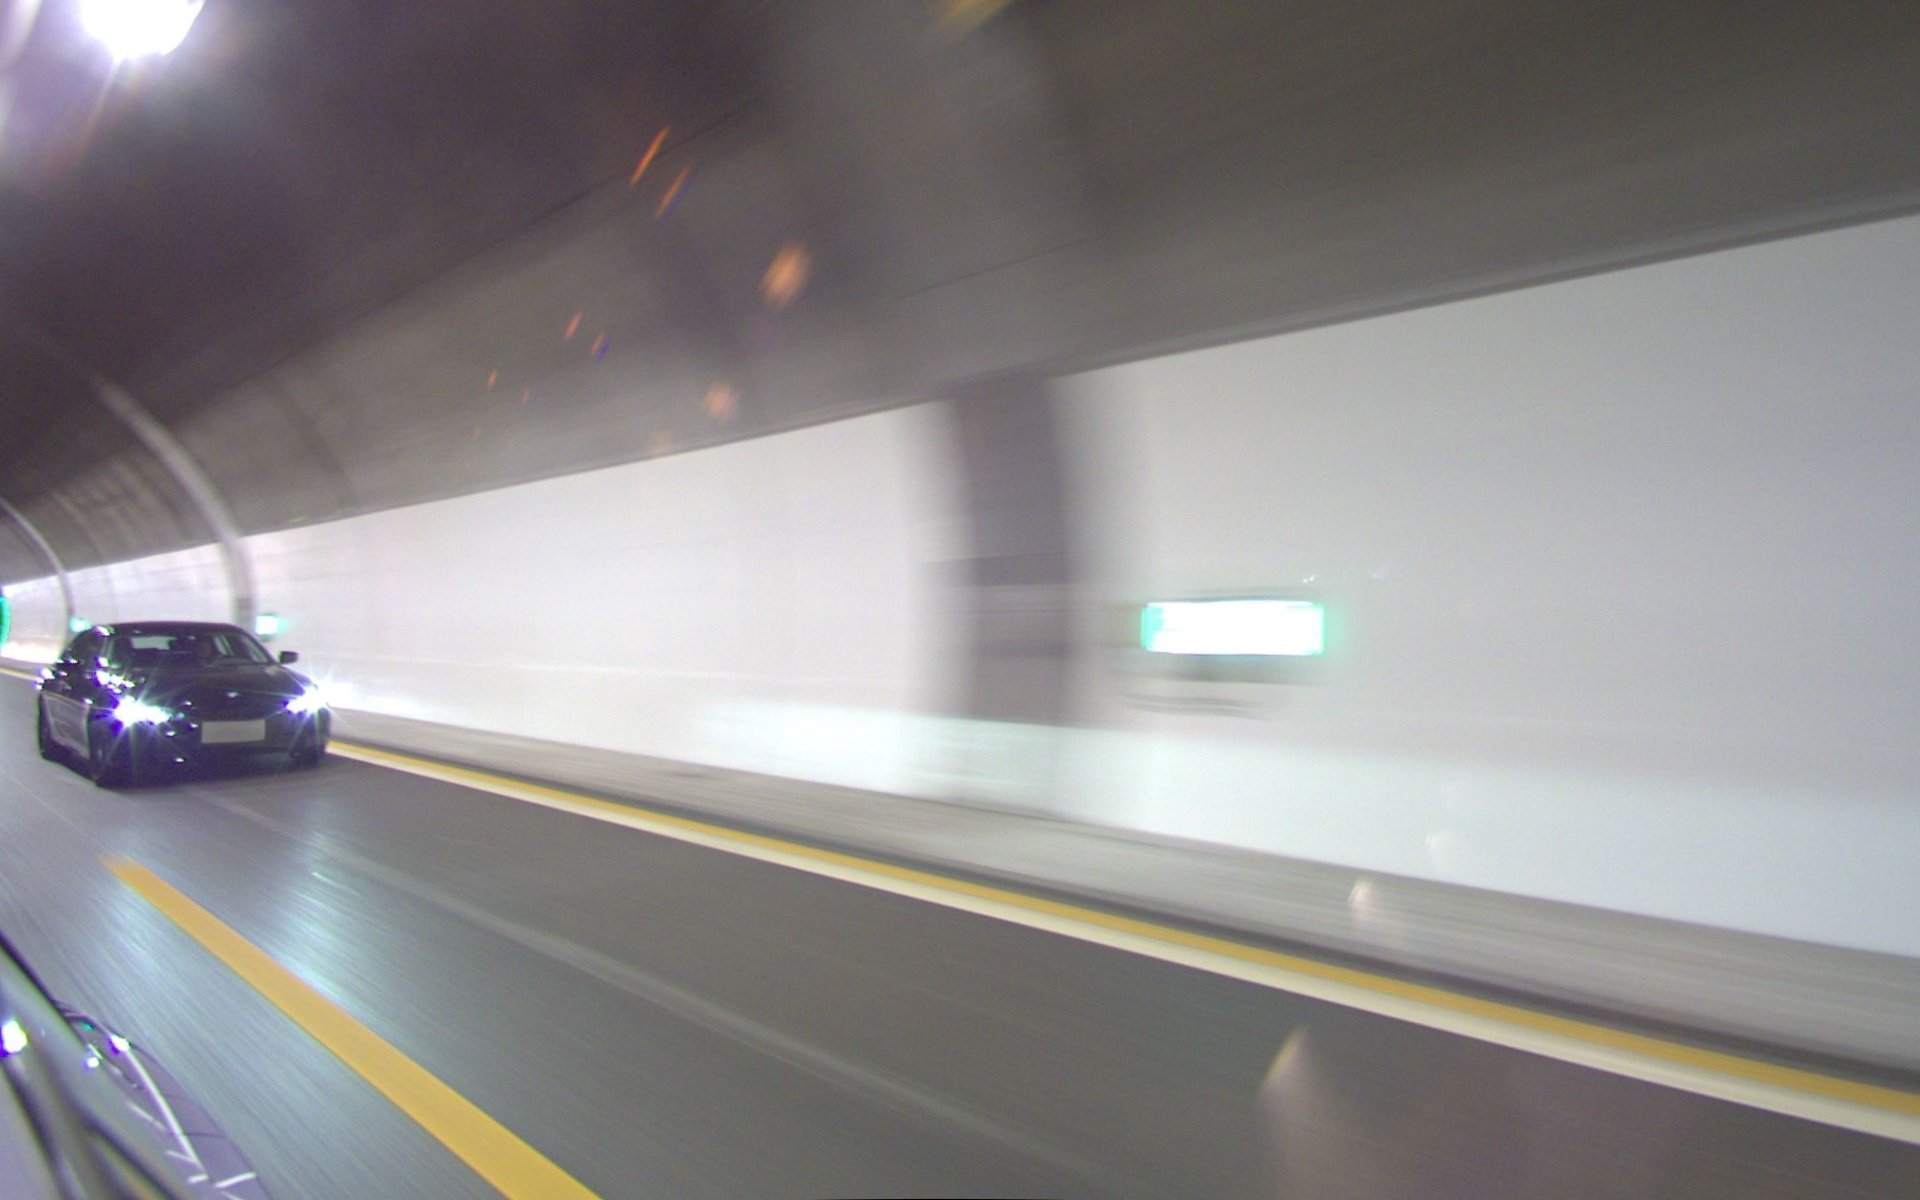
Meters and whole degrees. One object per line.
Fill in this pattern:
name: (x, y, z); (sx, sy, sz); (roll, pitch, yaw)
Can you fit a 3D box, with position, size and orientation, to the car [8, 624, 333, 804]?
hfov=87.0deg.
car: (-8.443, 1.003, 10.636); (4.879, 1.449, 1.760); (-1, -1, 41)
